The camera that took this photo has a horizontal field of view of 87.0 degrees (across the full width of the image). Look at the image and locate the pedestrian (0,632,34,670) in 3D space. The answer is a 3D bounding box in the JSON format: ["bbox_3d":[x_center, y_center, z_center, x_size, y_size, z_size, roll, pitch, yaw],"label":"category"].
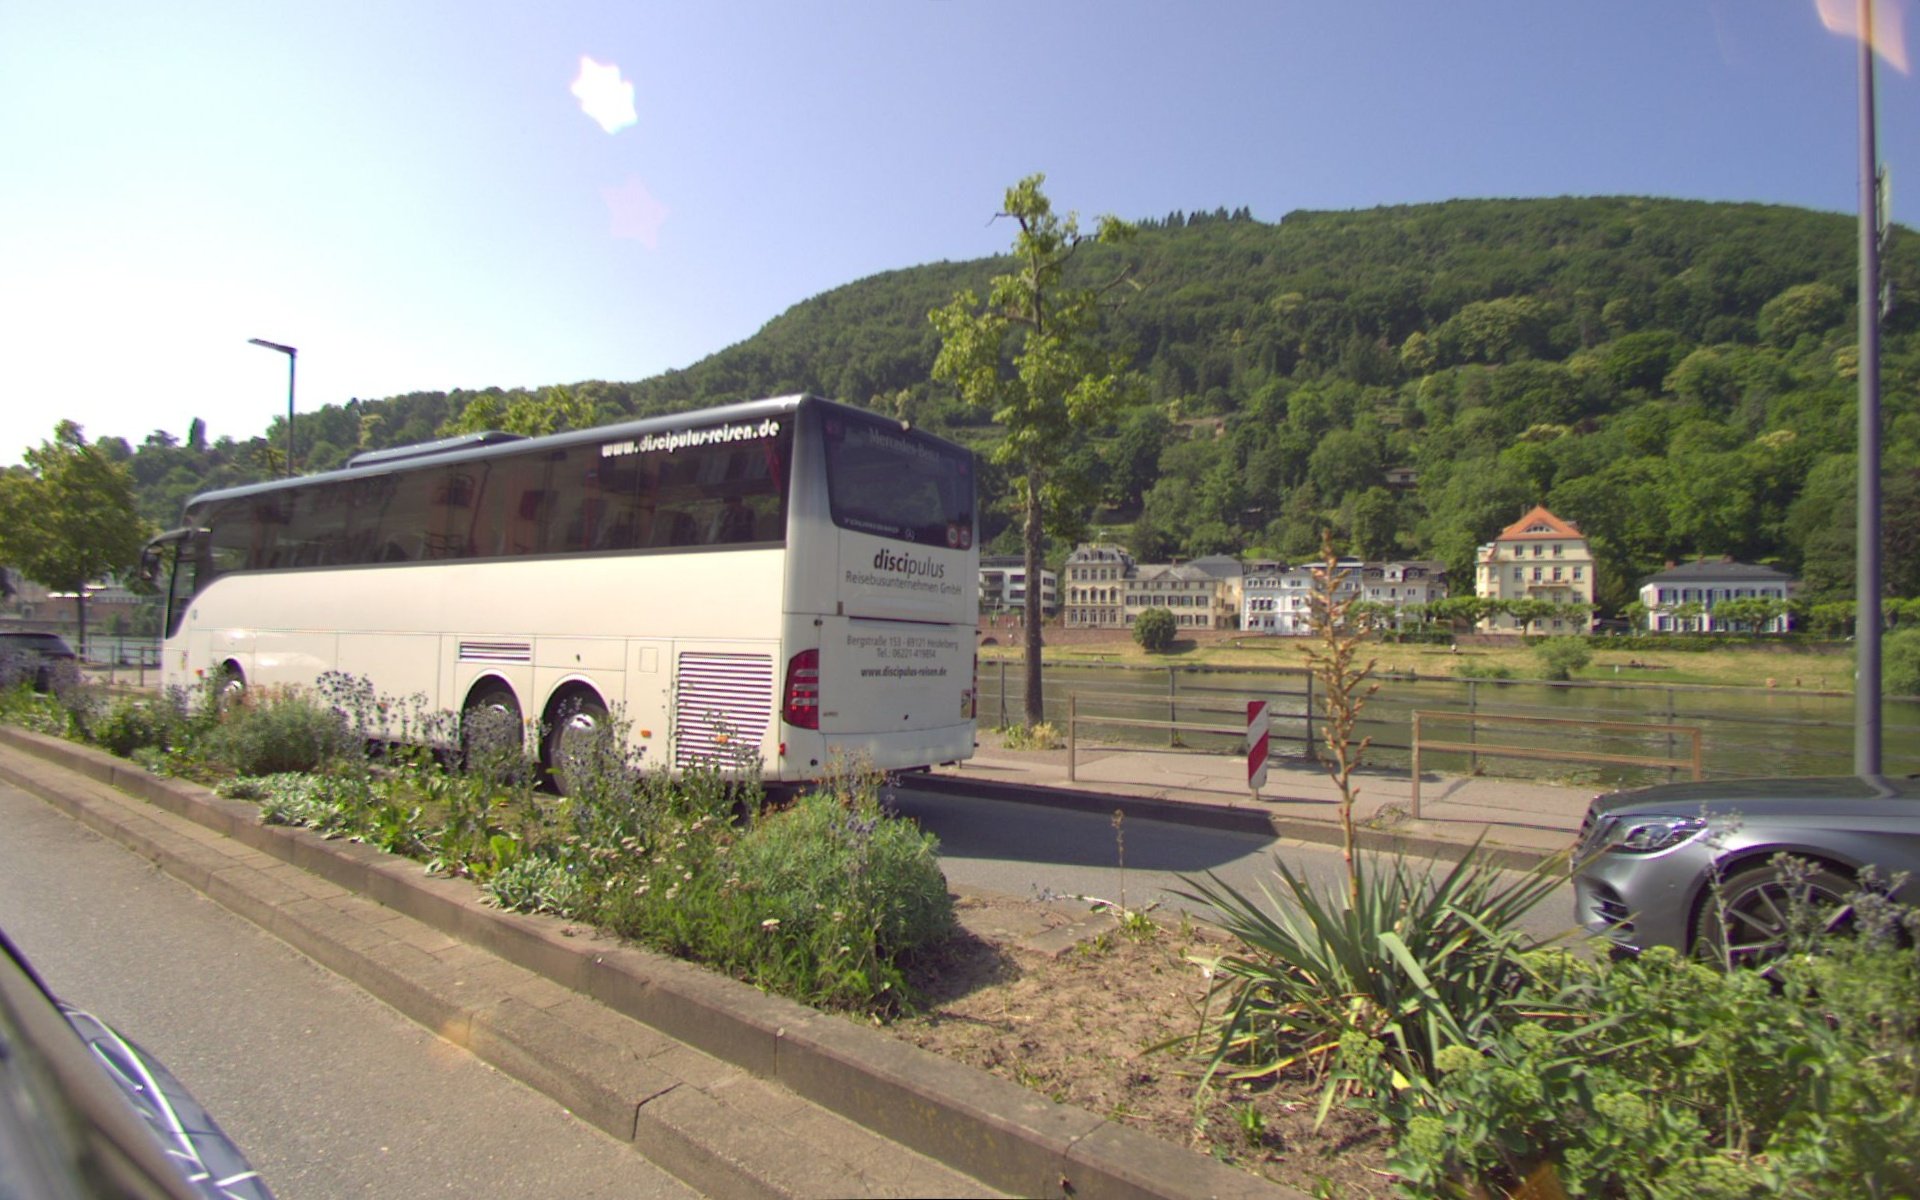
[{"bbox_3d":[-32.641,1.746,34.798,0.847,1.291,0.929,0,-3,32],"label":"pedestrian"}]

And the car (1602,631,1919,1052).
[{"bbox_3d":[5.538,1.020,3.863,5.145,1.610,1.976,-1,-6,35],"label":"car"}]

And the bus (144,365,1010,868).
[{"bbox_3d":[-5.626,0.139,12.007,12.951,3.591,2.609,0,-3,35],"label":"bus"}]

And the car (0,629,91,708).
[{"bbox_3d":[-19.234,1.309,20.019,4.177,1.440,1.803,-1,-4,31],"label":"car"}]

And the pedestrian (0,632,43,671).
[{"bbox_3d":[-31.875,1.742,34.307,0.847,1.291,0.929,0,-3,32],"label":"pedestrian"}]
